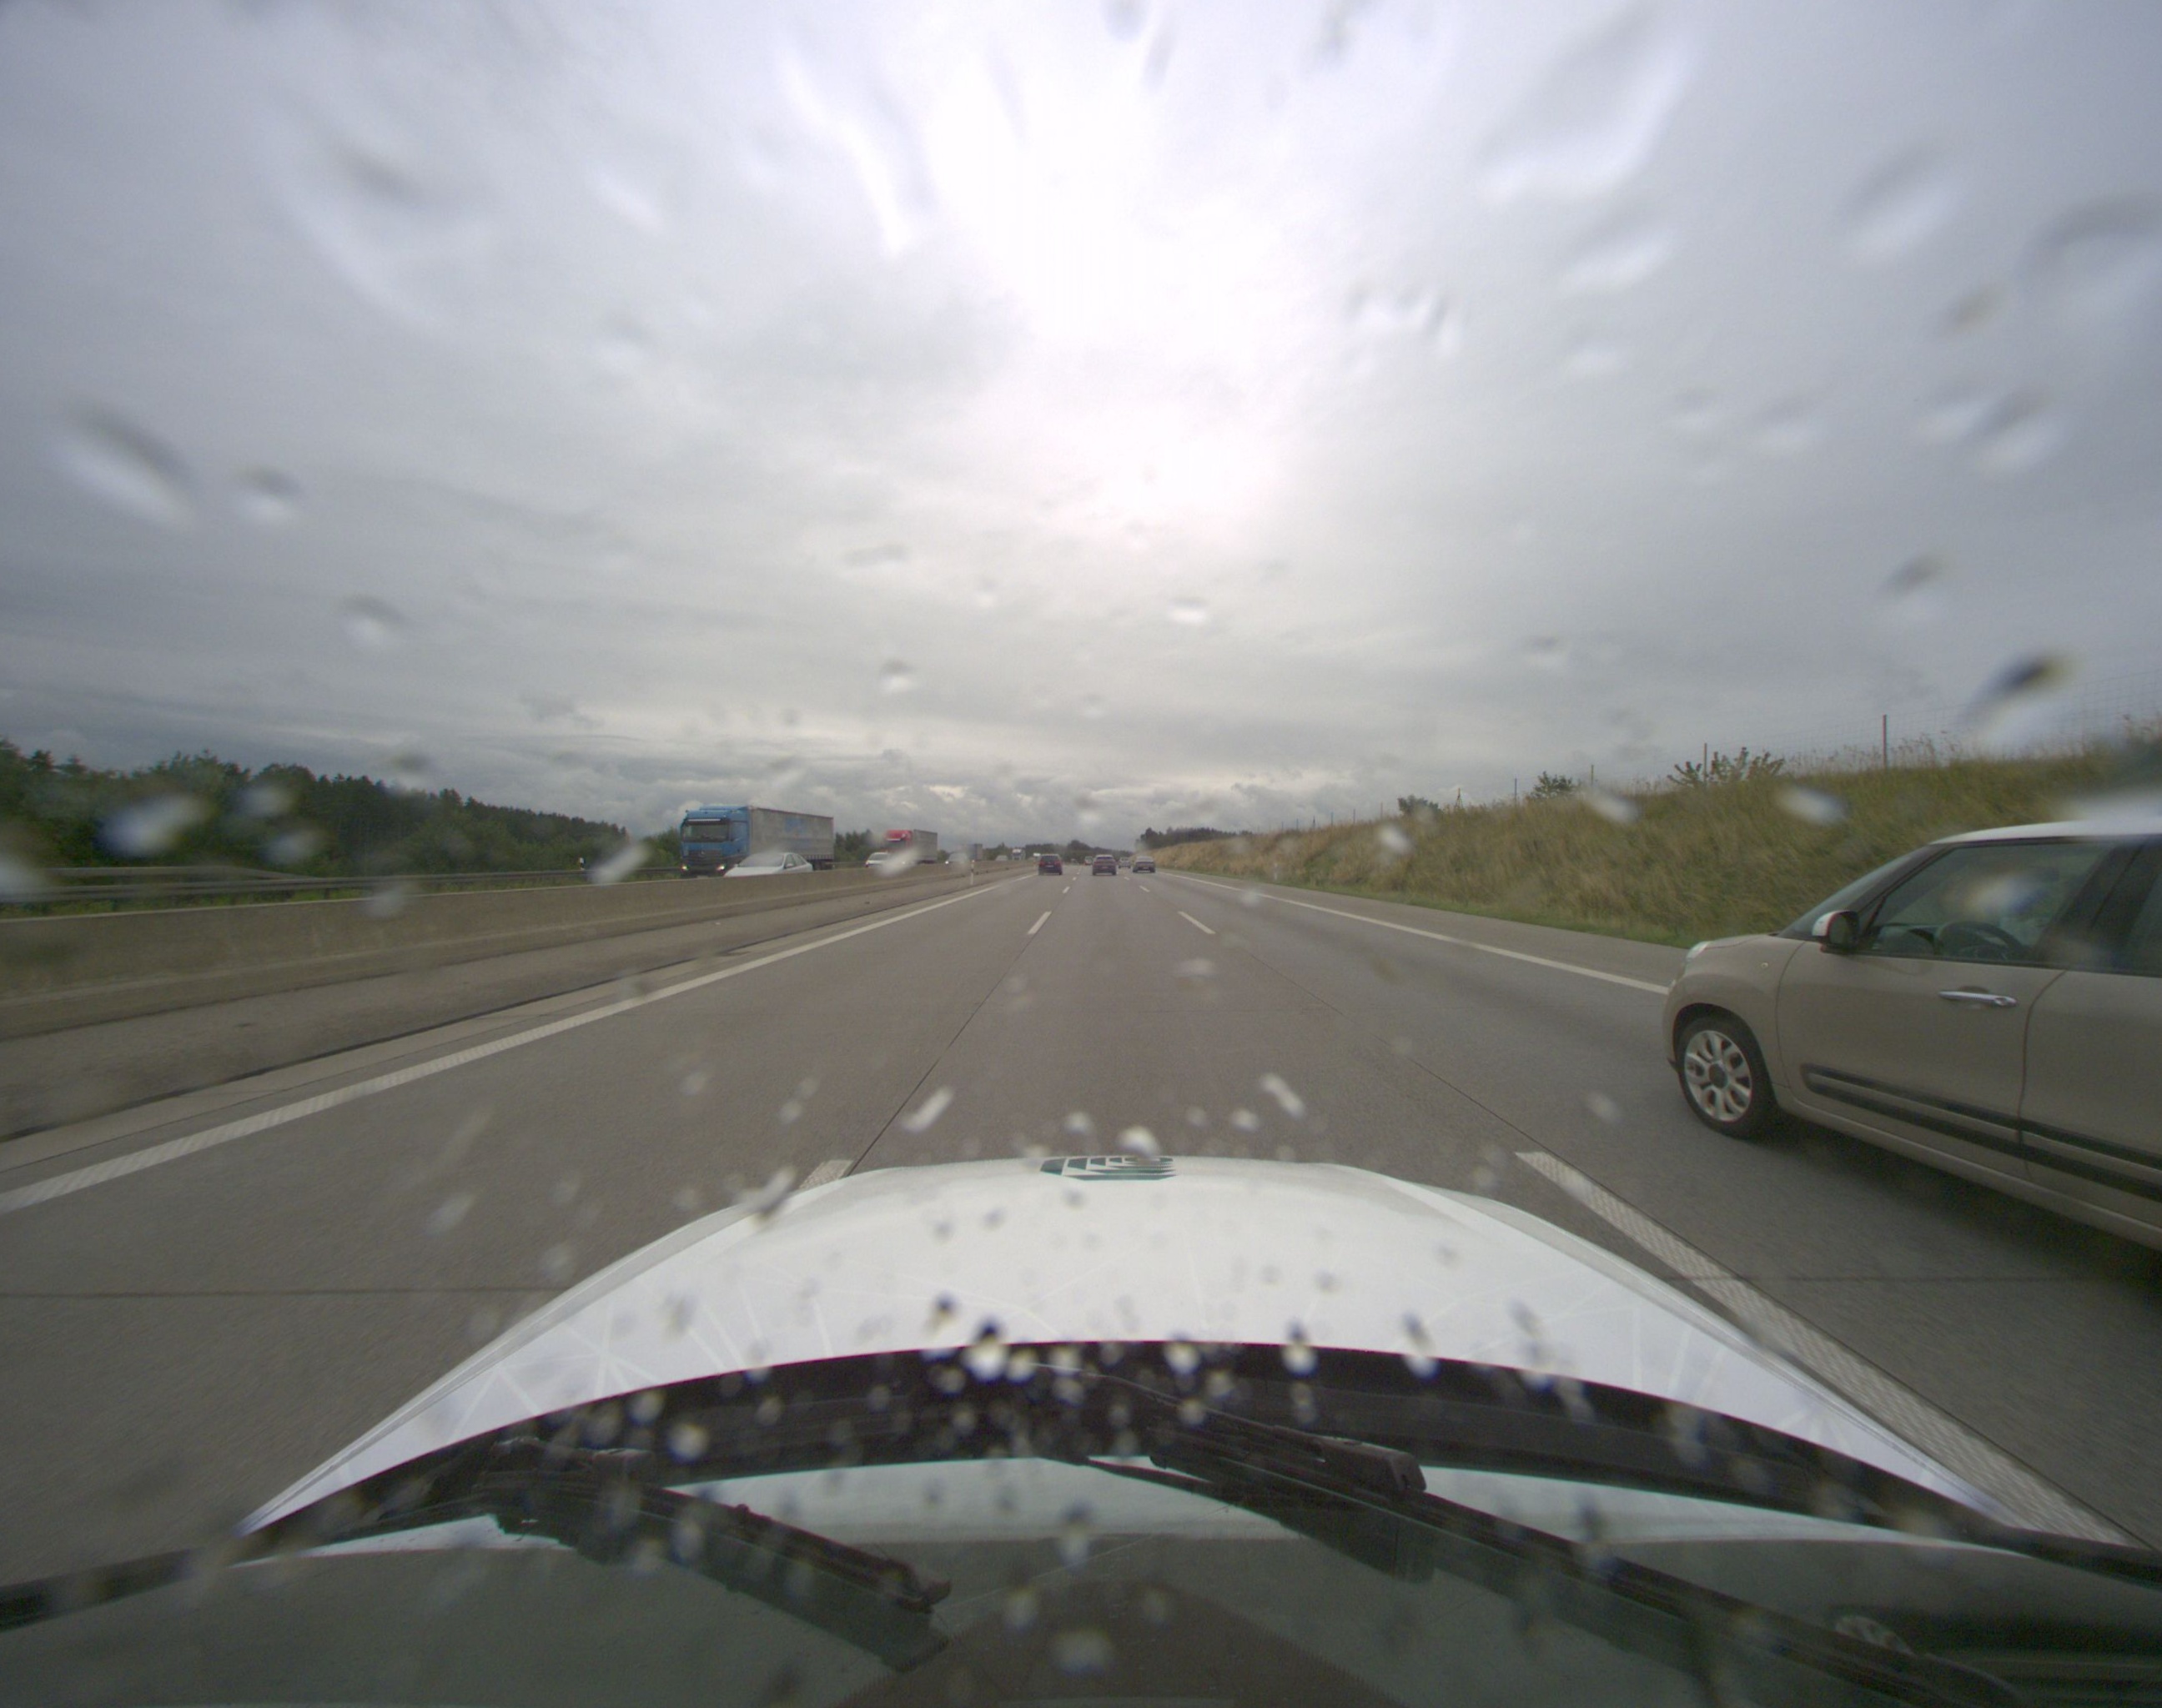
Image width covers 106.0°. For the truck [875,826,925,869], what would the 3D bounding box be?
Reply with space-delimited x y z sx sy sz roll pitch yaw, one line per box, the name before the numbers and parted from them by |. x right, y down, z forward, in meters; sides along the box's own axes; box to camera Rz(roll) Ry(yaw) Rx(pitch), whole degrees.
truck | -18.228 -0.635 82.503 3.457 4.182 6.495 0 0 1

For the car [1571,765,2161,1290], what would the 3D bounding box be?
car | 4.213 0.524 3.328 1.778 1.605 4.572 0 0 2

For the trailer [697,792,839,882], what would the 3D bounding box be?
trailer | -18.183 -0.887 48.854 2.905 4.625 13.640 0 0 1

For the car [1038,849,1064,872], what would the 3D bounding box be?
car | -2.419 0.499 66.210 1.778 1.747 3.917 0 0 2

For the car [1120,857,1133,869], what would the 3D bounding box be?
car | 5.953 1.157 106.011 1.481 1.470 3.504 2 0 0

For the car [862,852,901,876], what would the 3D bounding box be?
car | -14.094 0.696 57.649 1.608 1.651 4.296 0 0 1

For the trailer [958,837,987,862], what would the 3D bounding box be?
trailer | -17.728 -0.684 133.857 2.840 3.837 12.400 0 0 1

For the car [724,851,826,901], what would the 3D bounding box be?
car | -10.696 0.697 28.848 1.692 1.614 4.722 0 0 2

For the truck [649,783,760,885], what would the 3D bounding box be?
truck | -18.373 -0.921 40.118 2.918 4.676 5.233 0 0 1

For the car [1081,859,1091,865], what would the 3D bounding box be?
car | 1.121 1.796 178.550 1.790 1.221 4.004 0 0 4

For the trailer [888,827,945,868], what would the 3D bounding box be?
trailer | -18.036 -0.697 90.507 3.471 4.201 12.931 0 0 1

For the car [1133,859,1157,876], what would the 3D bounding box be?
car | 5.795 1.175 73.938 2.006 1.446 4.747 0 0 2

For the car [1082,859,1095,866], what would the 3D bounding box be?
car | 1.235 1.346 127.973 1.790 1.123 4.004 0 0 4

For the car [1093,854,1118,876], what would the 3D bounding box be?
car | 1.967 0.852 64.554 1.891 1.690 5.268 0 0 2

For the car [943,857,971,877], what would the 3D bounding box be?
car | -10.699 1.111 70.545 1.707 1.679 4.182 0 0 1
